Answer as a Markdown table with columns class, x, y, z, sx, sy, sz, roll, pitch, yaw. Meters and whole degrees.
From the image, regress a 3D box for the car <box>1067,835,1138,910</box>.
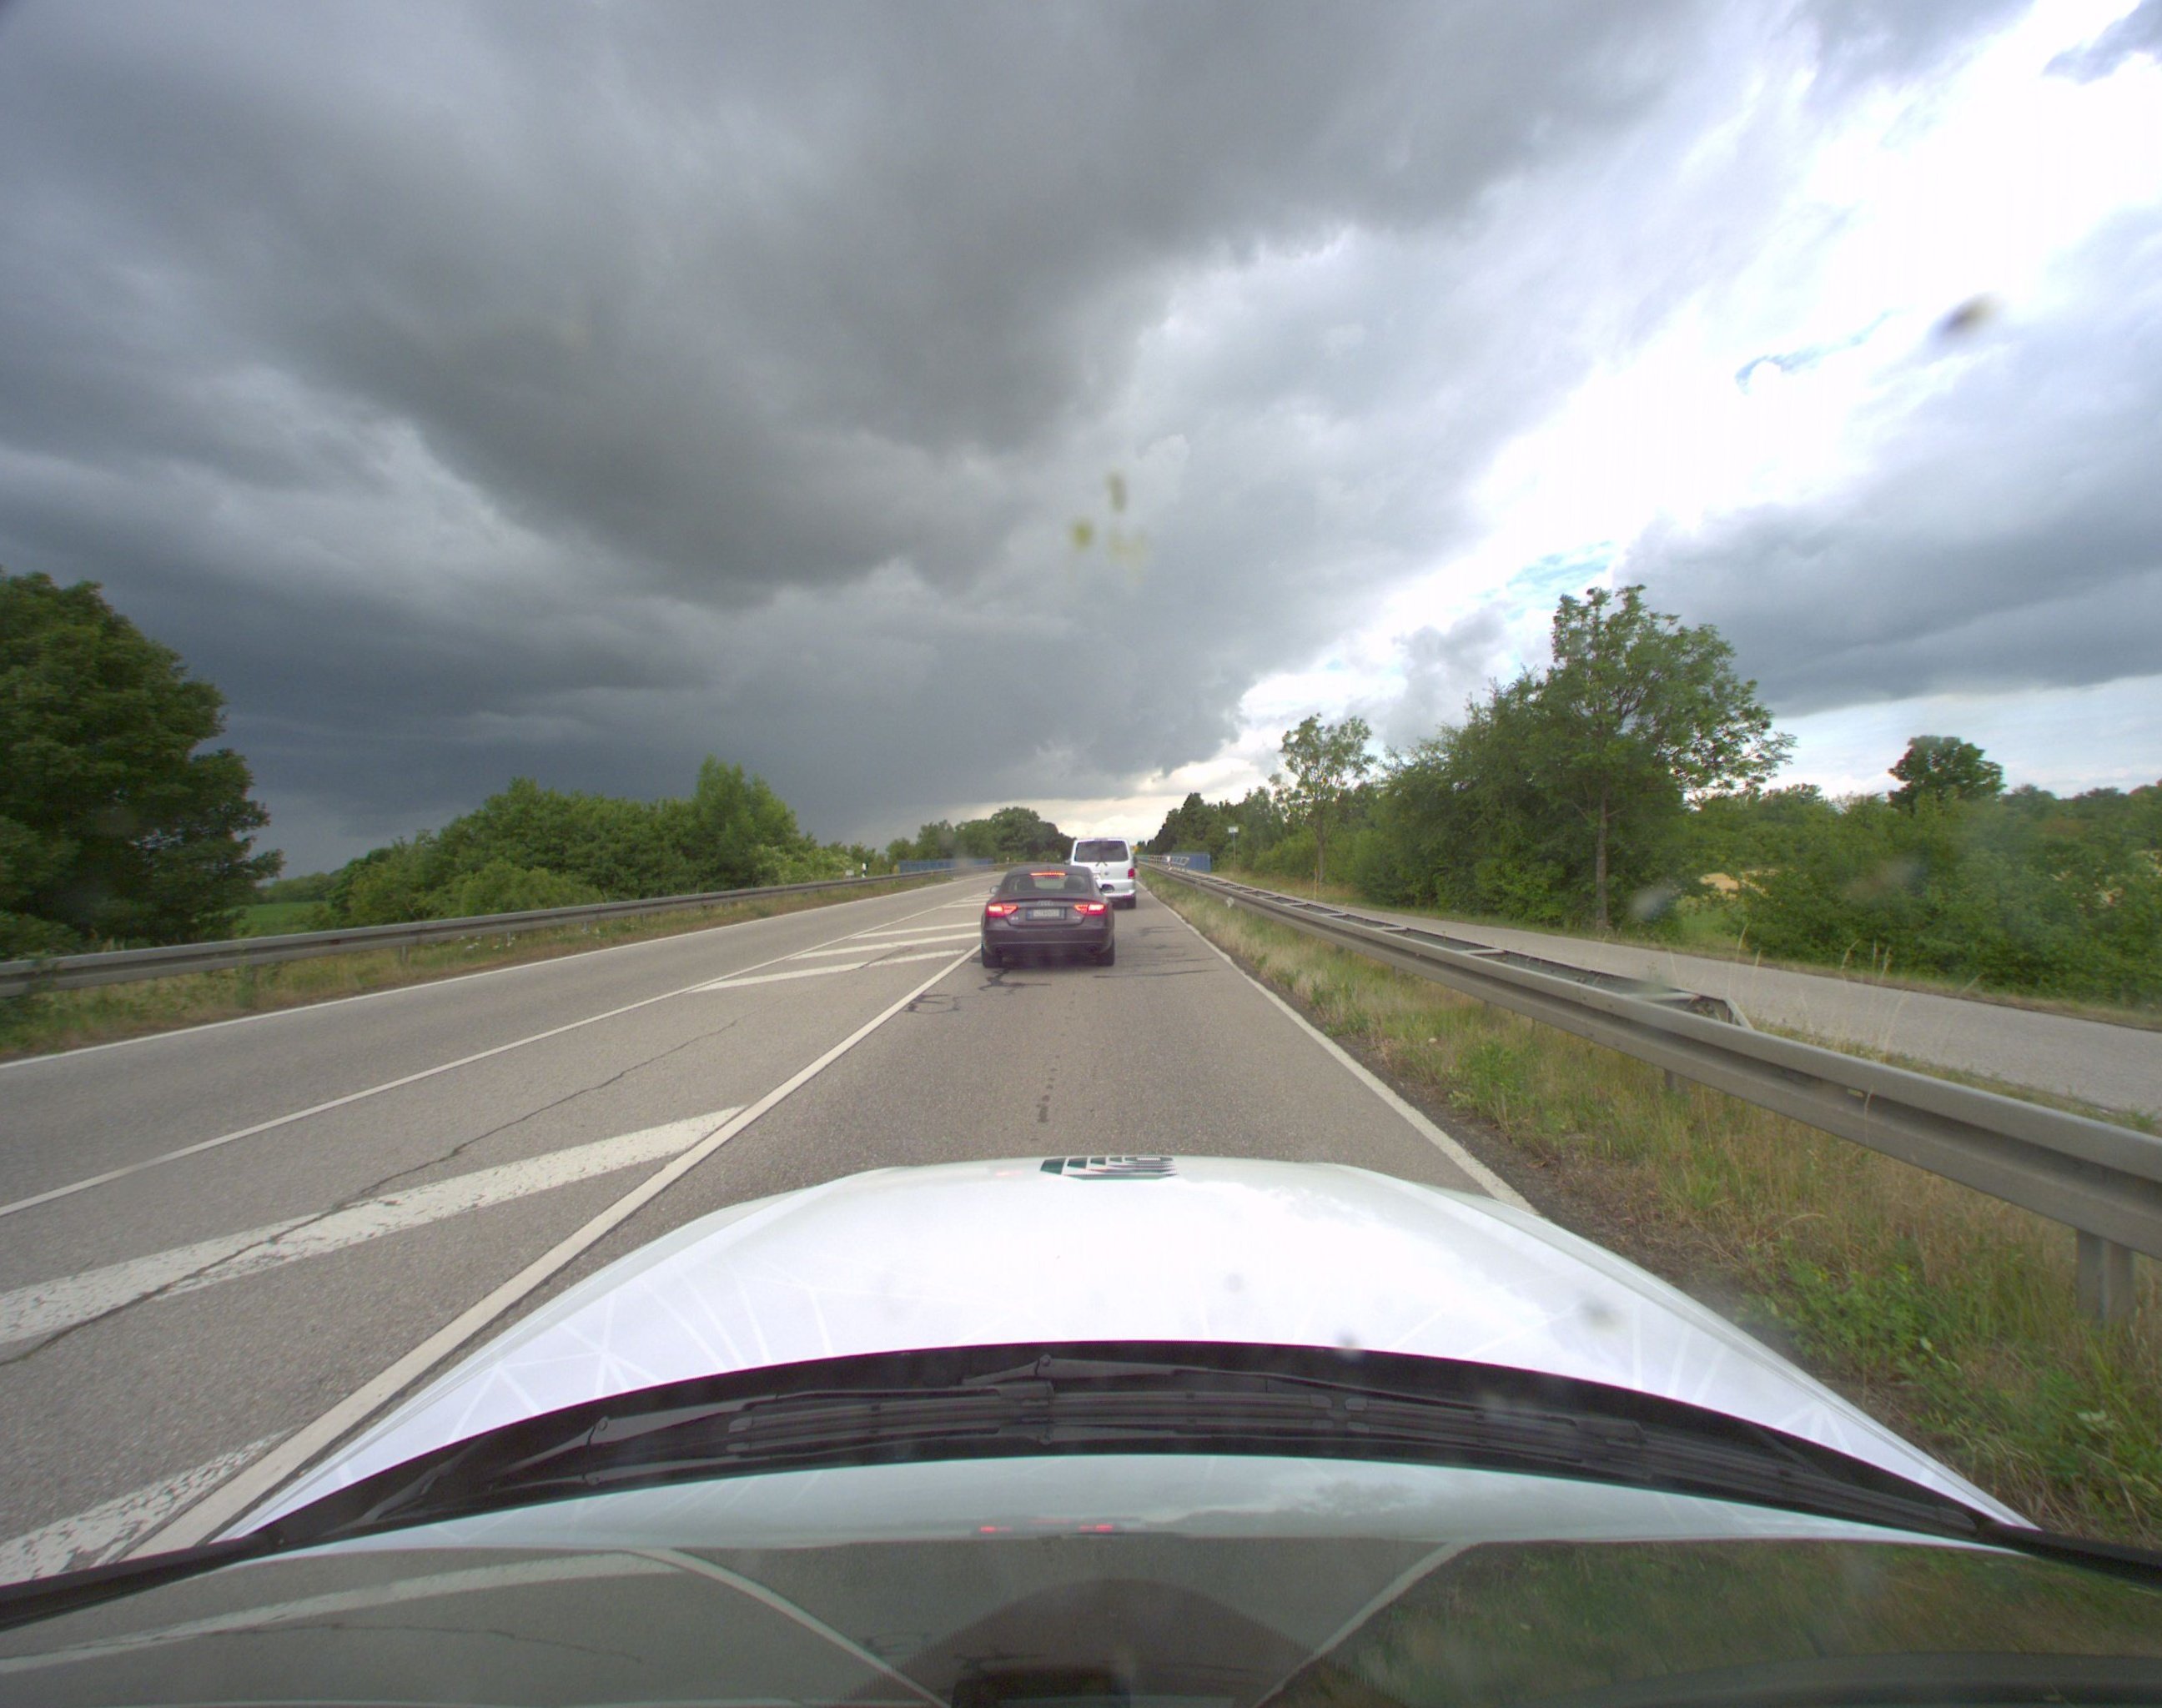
| class | x | y | z | sx | sy | sz | roll | pitch | yaw |
| --- | --- | --- | --- | --- | --- | --- | --- | --- | --- |
| car | 0.639 | 0.502 | 23.529 | 1.821 | 1.935 | 4.001 | -2 | 0 | 2 |

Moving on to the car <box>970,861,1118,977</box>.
| class | x | y | z | sx | sy | sz | roll | pitch | yaw |
| --- | --- | --- | --- | --- | --- | --- | --- | --- | --- |
| car | -0.403 | 0.839 | 12.299 | 1.815 | 1.381 | 4.073 | -2 | 0 | 2 |
